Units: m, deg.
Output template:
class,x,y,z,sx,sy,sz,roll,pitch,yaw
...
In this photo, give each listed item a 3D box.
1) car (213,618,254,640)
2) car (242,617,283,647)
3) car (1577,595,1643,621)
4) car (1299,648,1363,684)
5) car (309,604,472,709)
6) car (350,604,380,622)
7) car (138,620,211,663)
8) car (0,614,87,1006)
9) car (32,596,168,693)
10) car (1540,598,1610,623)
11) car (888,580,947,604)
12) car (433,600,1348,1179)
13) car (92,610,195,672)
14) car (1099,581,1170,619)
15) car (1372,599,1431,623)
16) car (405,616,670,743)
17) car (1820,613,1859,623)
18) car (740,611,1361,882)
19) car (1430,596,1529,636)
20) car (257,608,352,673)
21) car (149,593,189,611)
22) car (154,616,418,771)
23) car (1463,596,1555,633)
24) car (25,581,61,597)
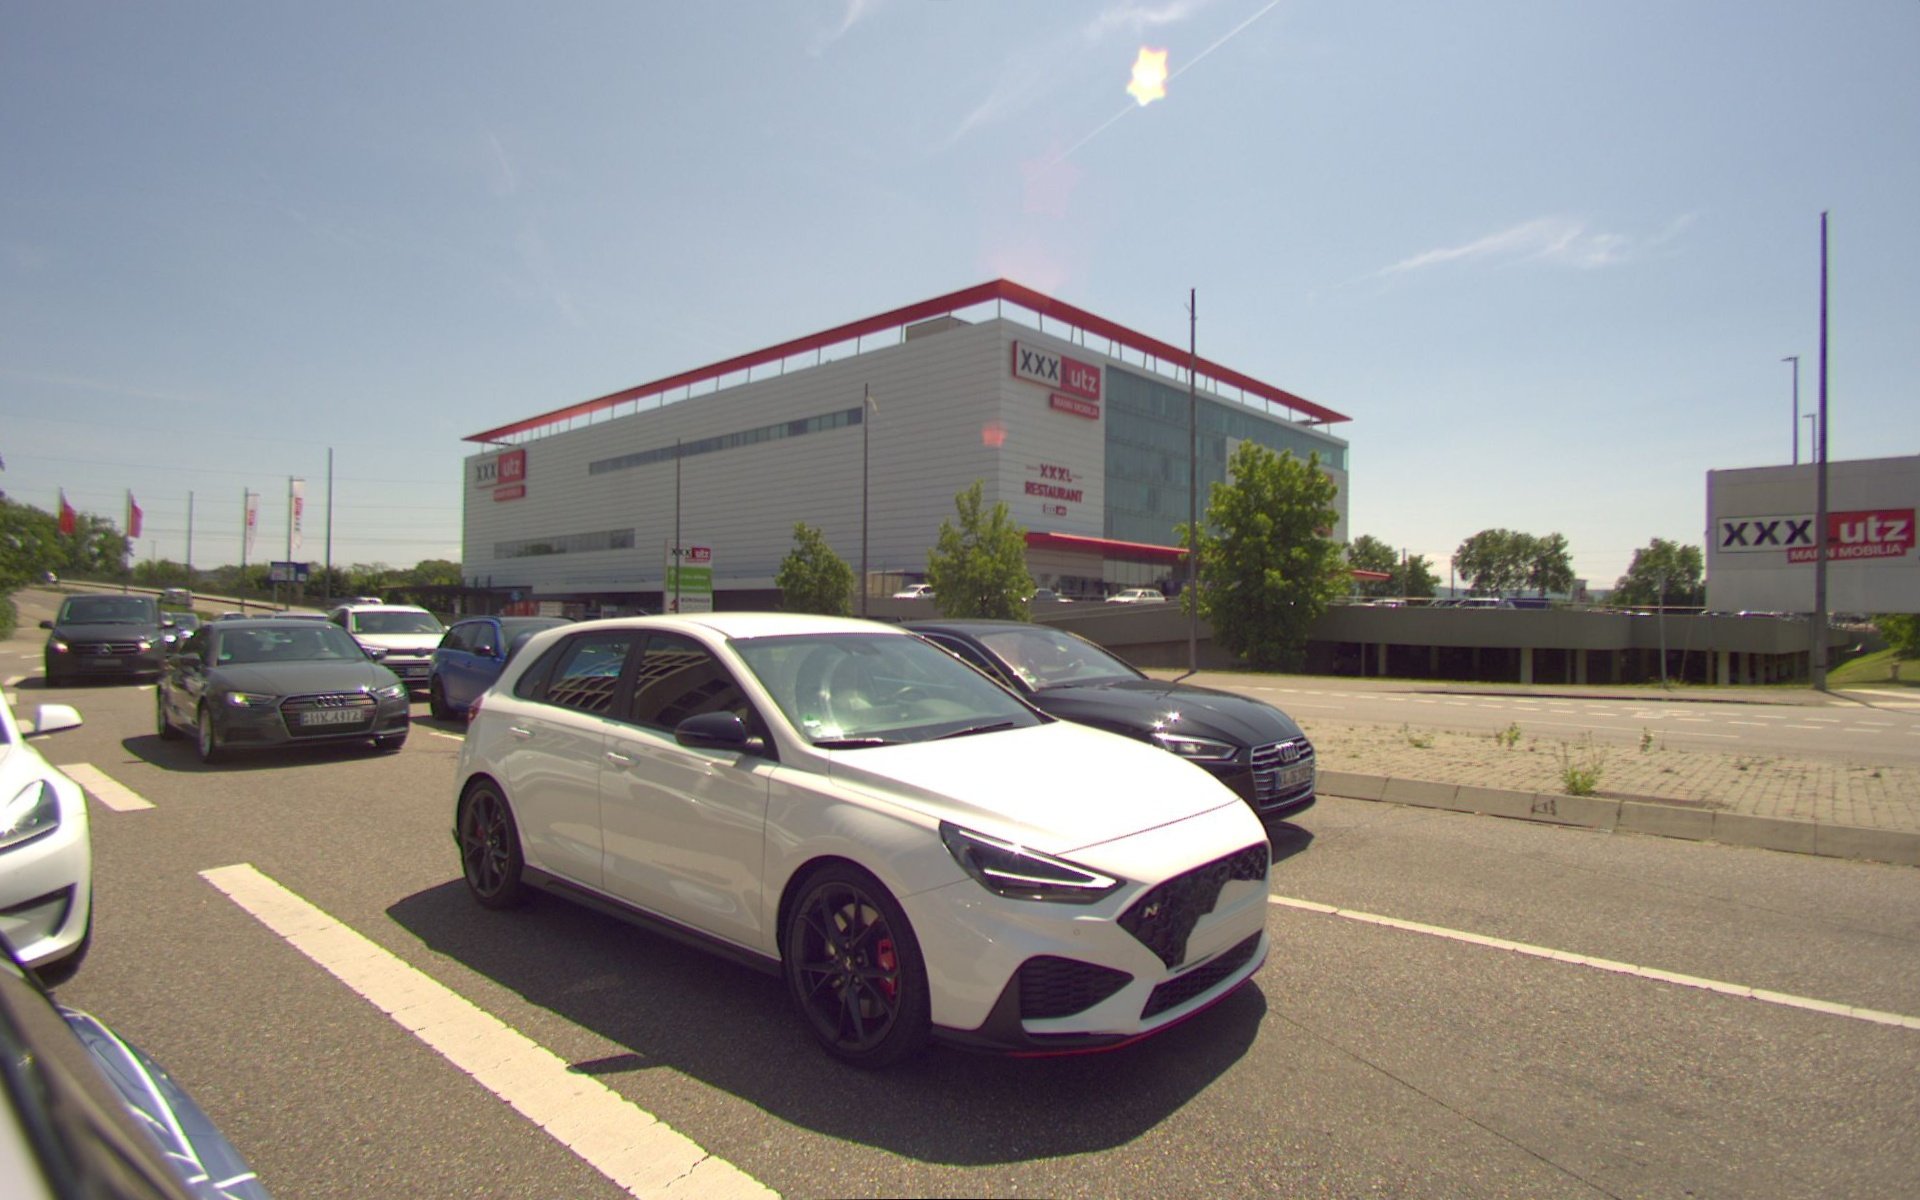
class,x,y,z,sx,sy,sz,roll,pitch,yaw
car,-50.860,2.046,70.816,4.002,1.483,1.702,-1,-2,45
car,-37.195,1.704,54.043,1.698,1.564,4.011,1,-2,-33
car,53.106,0.671,82.695,4.328,2.029,1.972,0,-2,42
car,19.082,3.345,51.940,1.997,1.719,3.949,-1,-2,38
car,-10.398,0.921,18.316,1.743,1.653,4.498,0,0,-40
car,-79.500,1.726,135.170,4.815,2.300,2.162,-1,-2,44
car,-28.176,1.463,36.394,1.582,1.451,3.744,1,-2,-30
car,-5.592,0.807,4.666,4.282,1.447,1.800,-1,0,41
car,-18.294,0.861,21.452,1.869,1.835,4.840,0,-1,-44
car,44.727,0.740,73.658,4.134,1.754,1.759,0,-2,42
car,-2.902,-0.539,69.056,1.718,1.519,3.942,-1,-2,44
car,-0.621,0.748,4.556,4.068,1.447,1.769,-1,-1,41
car,-23.473,1.147,29.237,1.784,1.652,4.011,1,-2,-32
car,9.951,0.041,57.519,4.407,2.029,1.680,2,-2,-44
car,36.019,0.889,82.573,4.000,1.915,1.972,-1,-2,43
car,-5.815,0.952,13.634,4.433,1.413,1.745,-2,-1,45
car,126.811,2.646,145.940,3.997,1.433,1.679,0,-1,33
car,0.391,0.834,7.457,4.466,1.415,1.654,-2,-1,42
car,27.214,0.853,53.070,4.323,2.029,1.974,0,-2,38
car,-16.065,0.943,24.708,1.741,1.433,3.908,-1,-1,-36
car,-79.847,0.221,102.180,4.028,1.736,1.848,-1,-2,31
car,-7.583,0.884,11.216,1.744,1.393,4.093,1,-1,-44
car,31.010,0.831,57.176,4.323,2.029,1.975,0,-2,38
car,-111.884,-1.348,123.481,4.020,1.736,1.852,-1,-2,26
